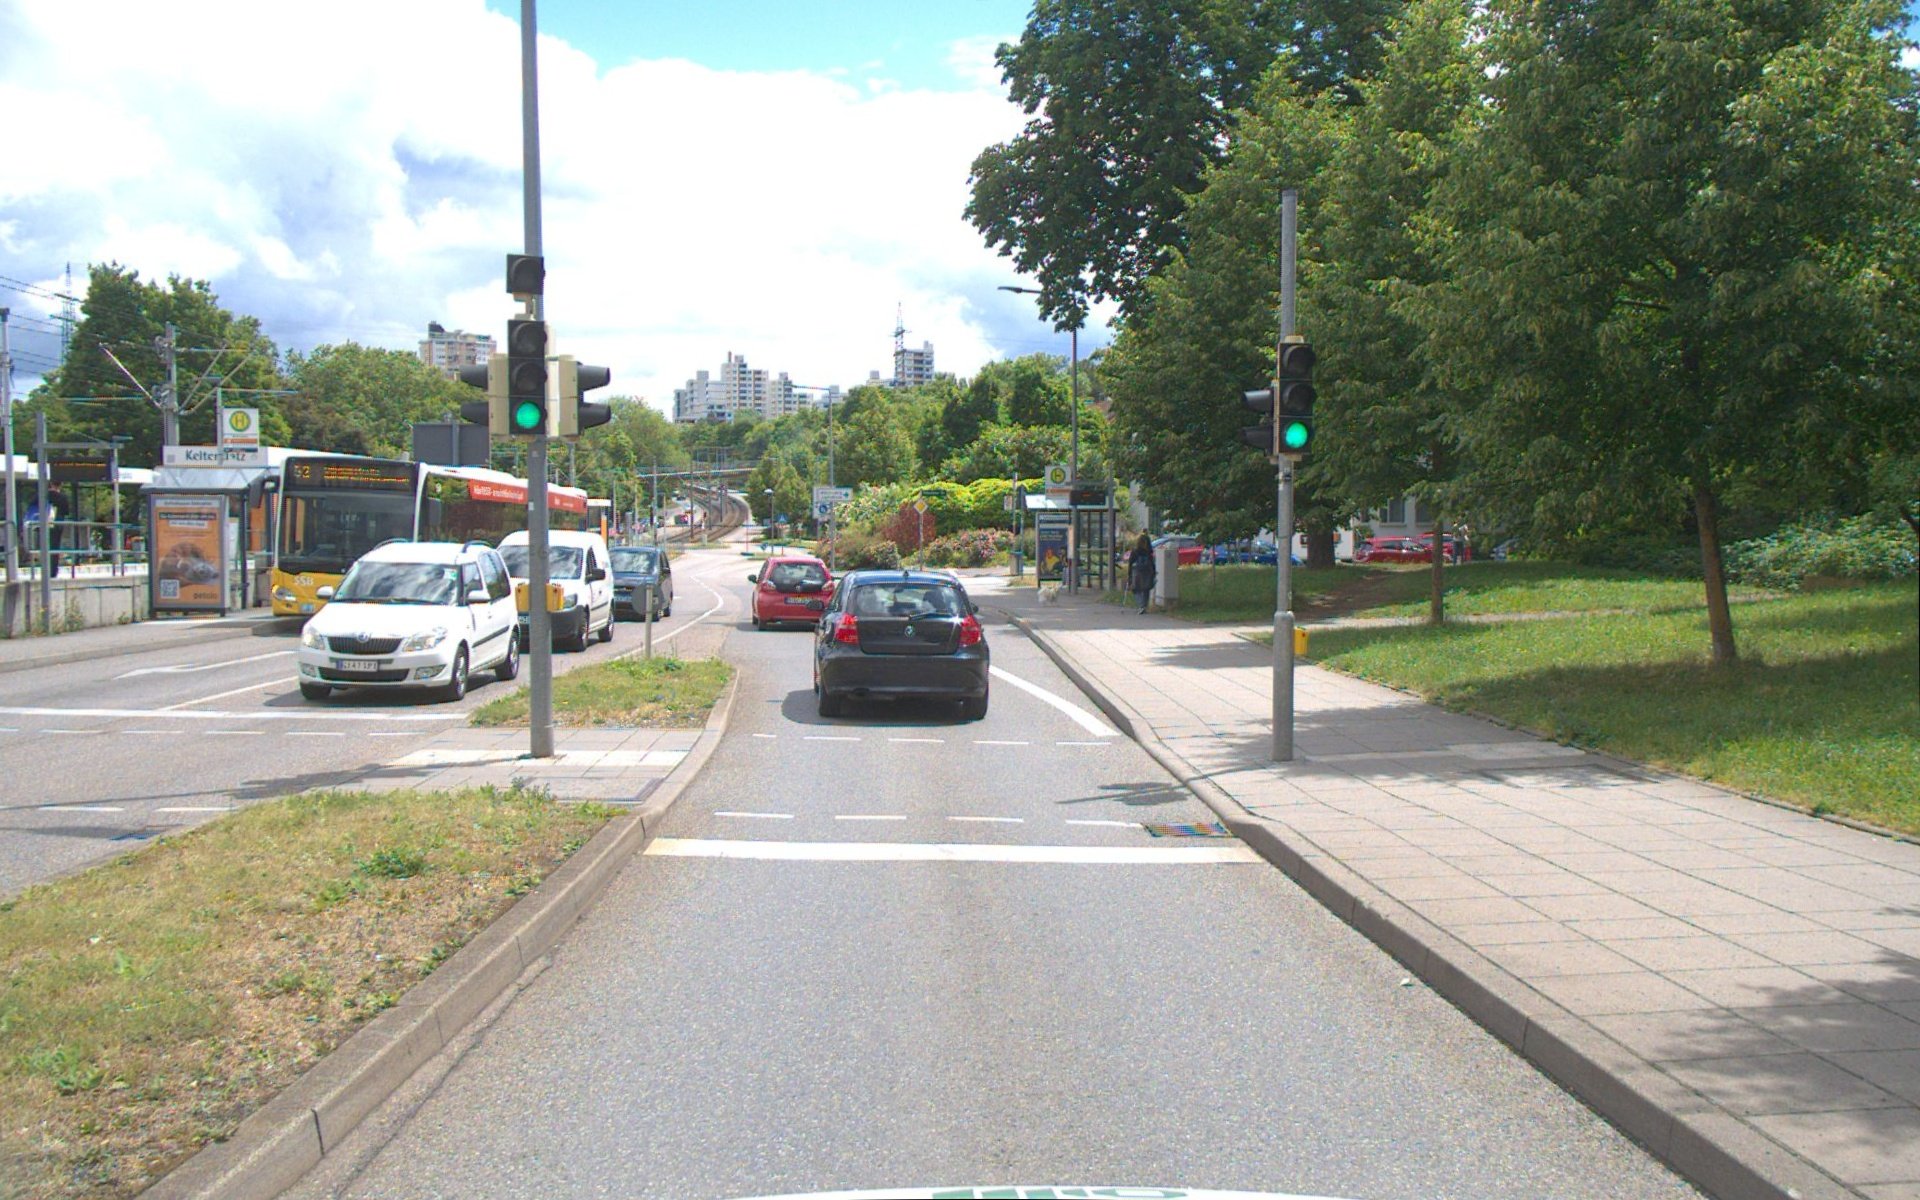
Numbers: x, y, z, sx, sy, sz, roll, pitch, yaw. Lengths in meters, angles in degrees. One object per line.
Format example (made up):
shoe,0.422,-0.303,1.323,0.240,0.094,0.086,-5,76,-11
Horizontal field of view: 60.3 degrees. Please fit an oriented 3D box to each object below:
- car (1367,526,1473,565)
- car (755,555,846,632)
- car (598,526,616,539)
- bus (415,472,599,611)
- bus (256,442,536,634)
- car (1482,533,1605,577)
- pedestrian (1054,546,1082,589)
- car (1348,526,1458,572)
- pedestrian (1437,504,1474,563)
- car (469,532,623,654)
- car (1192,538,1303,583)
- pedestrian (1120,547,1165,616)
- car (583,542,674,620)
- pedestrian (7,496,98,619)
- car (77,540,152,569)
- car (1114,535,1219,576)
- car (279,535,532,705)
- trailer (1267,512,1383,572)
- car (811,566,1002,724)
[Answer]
car,20.086,-2.395,72.336,4.002,1.528,1.998,-2,3,-6
car,-3.336,-0.182,34.161,1.732,1.457,3.473,-1,2,-8
car,-38.812,-7.381,181.935,1.498,1.394,3.595,0,3,-4
bus,-11.160,-1.450,41.651,2.672,3.123,8.958,0,2,-4
bus,-10.568,-1.194,32.239,2.672,3.163,9.699,0,2,-4
car,22.388,-1.750,63.507,4.002,1.586,1.997,-1,2,-8
pedestrian,3.286,-0.984,50.374,0.810,1.280,0.686,-1,2,-2
car,16.755,-1.959,62.625,3.616,1.672,1.828,0,3,-7
pedestrian,15.409,-2.063,51.433,0.965,1.791,0.859,-1,1,6
car,-6.503,-0.200,26.415,1.728,1.691,4.502,-1,3,-6
car,10.745,-1.484,62.000,3.721,1.481,1.894,-2,4,-7
pedestrian,3.887,-0.393,35.230,0.803,1.449,0.829,-1,1,-4
car,-7.172,-0.446,36.060,1.500,1.578,3.729,1,2,-5
pedestrian,-15.484,-0.731,28.259,0.951,2.048,1.029,-1,1,-1
car,-52.375,-2.812,102.510,3.565,1.735,2.052,0,3,-5
car,8.841,-1.913,70.936,4.080,1.588,1.997,-1,5,-10
car,-6.021,0.130,18.444,1.665,1.677,4.076,1,2,-4
trailer,15.823,-2.546,71.876,4.449,2.529,2.219,0,3,-6
car,-0.656,0.384,17.624,1.780,1.445,3.997,-1,1,-5
